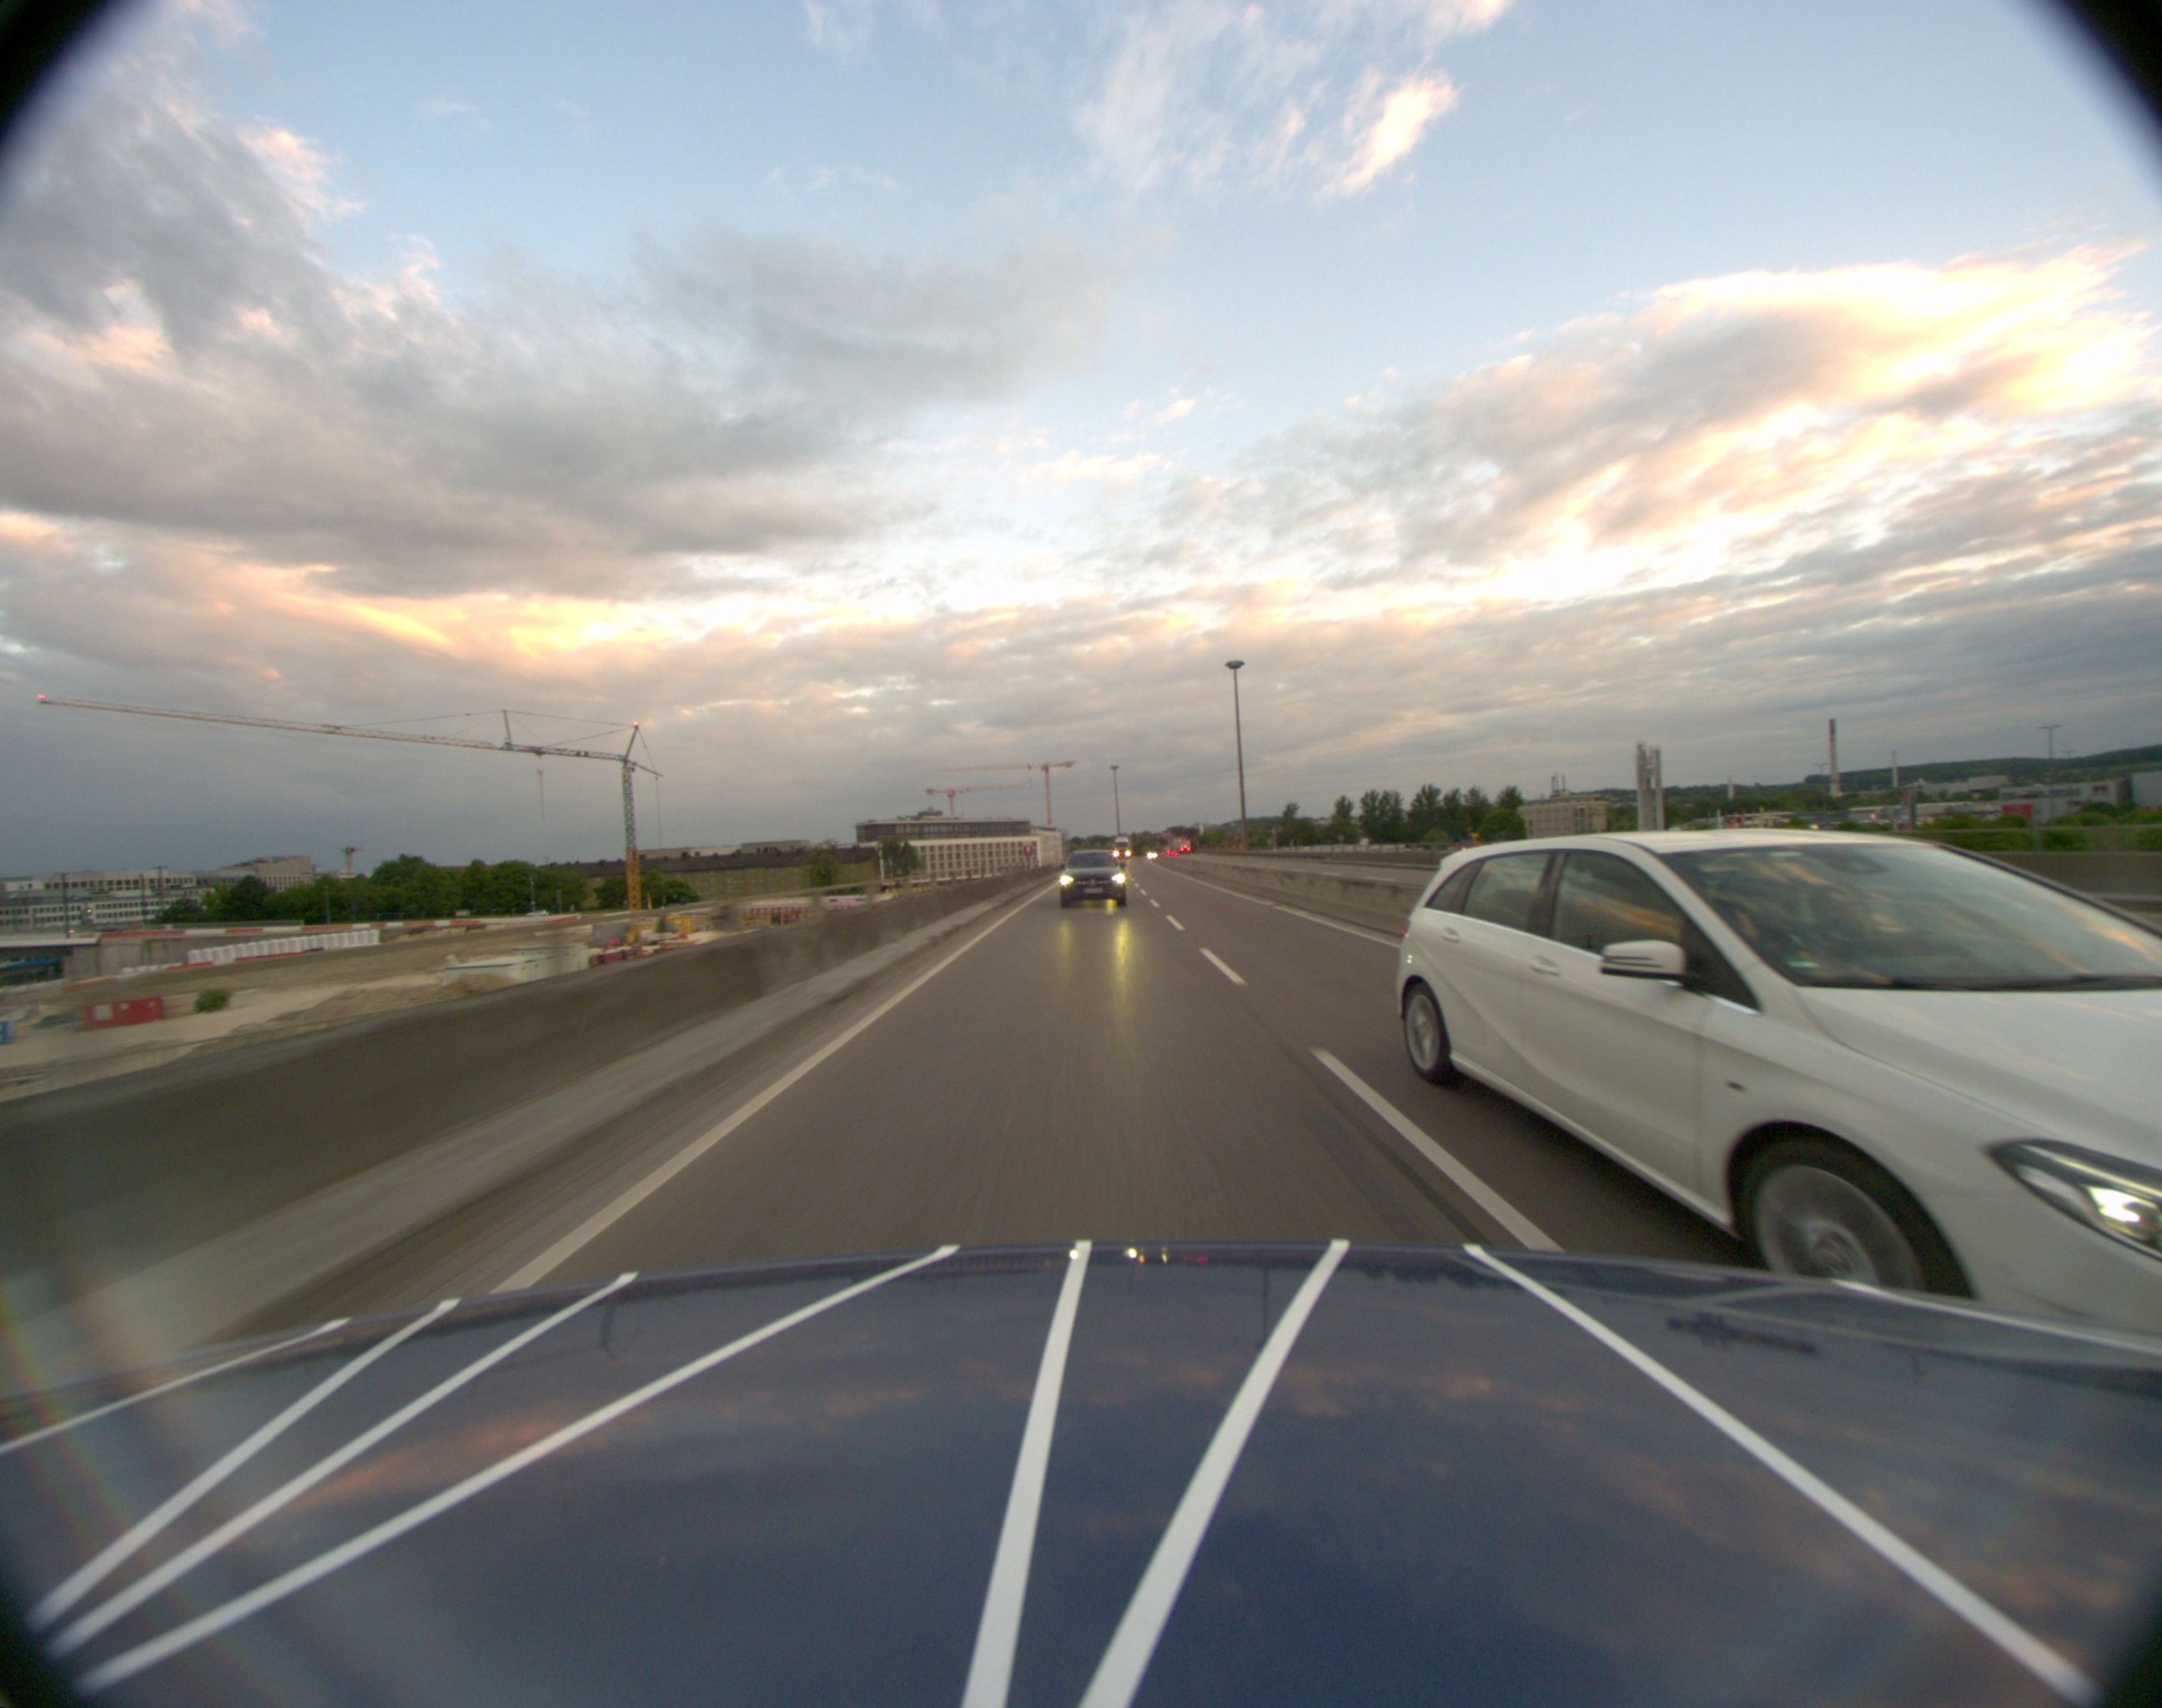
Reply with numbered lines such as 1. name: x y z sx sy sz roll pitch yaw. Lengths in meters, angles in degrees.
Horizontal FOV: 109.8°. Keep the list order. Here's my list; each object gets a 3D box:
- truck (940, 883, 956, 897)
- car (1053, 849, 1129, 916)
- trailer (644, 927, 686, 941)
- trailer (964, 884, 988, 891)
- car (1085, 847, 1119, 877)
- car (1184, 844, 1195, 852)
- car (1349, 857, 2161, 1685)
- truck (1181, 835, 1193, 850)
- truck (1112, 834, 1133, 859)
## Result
1. truck: -32.140 8.595 183.563 2.163 2.930 7.338 -5 -1 1
2. car: 0.340 0.708 20.904 1.823 1.602 4.213 -2 0 3
3. trailer: -52.600 10.060 96.083 1.780 1.234 4.259 -5 0 31
4. trailer: -27.239 8.742 196.712 5.875 1.340 2.024 -3 1 -13
5. car: 1.279 0.477 45.392 1.891 1.641 4.345 -3 -1 2
6. car: 21.455 -1.177 150.590 1.981 1.596 4.442 -2 1 6
7. car: 2.914 0.817 3.447 1.695 1.528 4.784 -2 -1 1
8. truck: 24.304 -2.564 174.838 2.540 3.278 7.449 -2 1 7
9. truck: 7.731 -1.412 139.365 3.164 4.369 8.796 -2 1 7
